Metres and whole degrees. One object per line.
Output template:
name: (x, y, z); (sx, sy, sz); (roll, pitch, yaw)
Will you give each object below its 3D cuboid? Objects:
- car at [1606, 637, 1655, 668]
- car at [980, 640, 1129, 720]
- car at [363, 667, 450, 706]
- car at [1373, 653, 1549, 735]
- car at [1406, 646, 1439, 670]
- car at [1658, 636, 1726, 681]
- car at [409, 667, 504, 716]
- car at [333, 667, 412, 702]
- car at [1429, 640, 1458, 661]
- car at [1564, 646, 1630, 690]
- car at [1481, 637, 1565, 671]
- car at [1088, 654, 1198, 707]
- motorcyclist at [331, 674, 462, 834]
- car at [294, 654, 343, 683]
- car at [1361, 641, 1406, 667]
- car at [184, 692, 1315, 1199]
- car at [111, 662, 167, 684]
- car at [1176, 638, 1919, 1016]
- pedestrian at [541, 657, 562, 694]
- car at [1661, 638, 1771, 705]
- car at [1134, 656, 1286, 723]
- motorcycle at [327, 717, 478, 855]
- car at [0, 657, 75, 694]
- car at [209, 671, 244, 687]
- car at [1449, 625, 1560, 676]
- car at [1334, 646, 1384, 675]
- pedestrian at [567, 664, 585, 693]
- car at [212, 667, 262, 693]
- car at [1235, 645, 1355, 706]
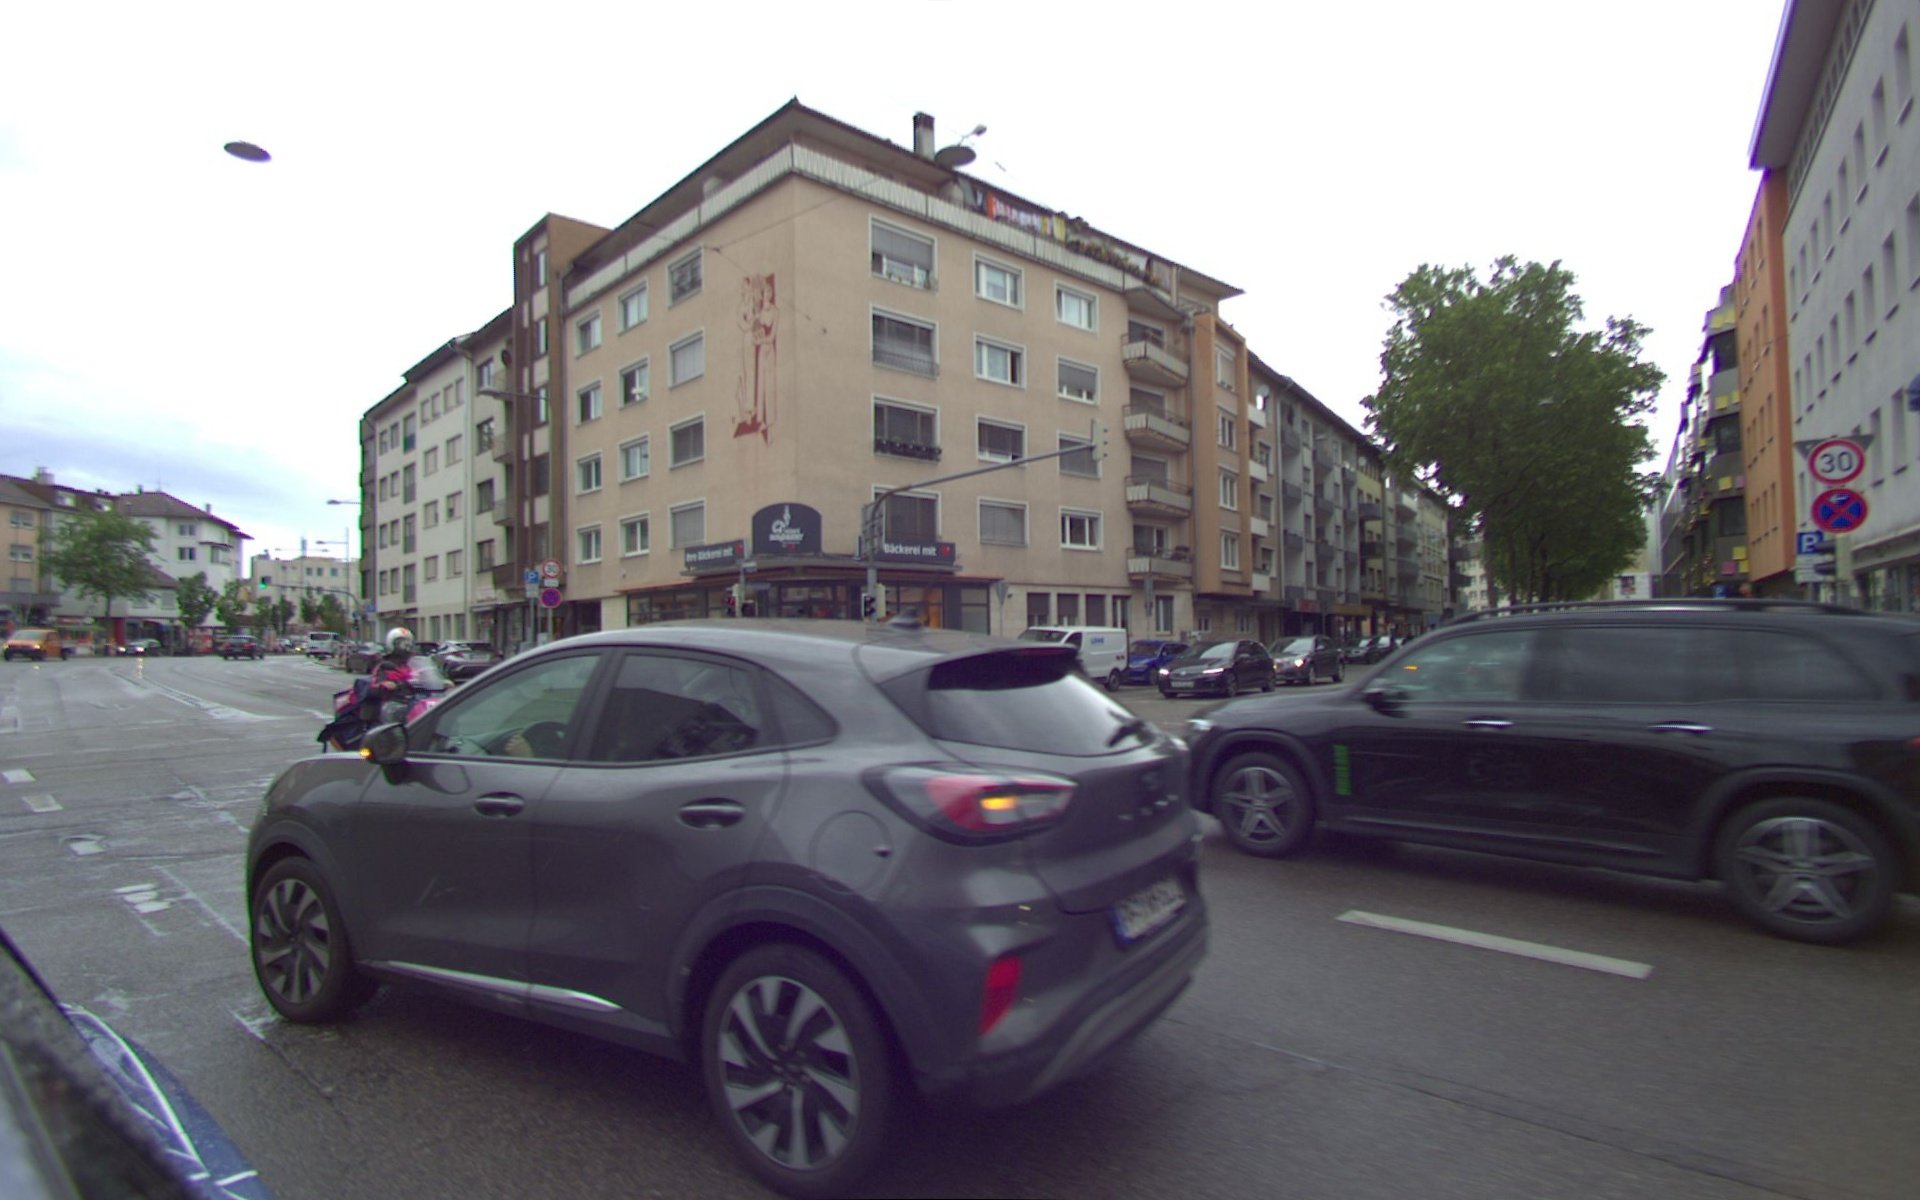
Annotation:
car: (34.546, 2.682, 52.101); (1.849, 1.483, 3.789); (-4, -3, 37)
car: (2.948, 2.328, 30.721); (2.046, 2.119, 4.799); (-1, -2, 42)
car: (-23.132, 3.560, 42.228); (4.520, 1.488, 1.971); (-4, -4, 45)
car: (10.421, 1.848, 20.897); (2.000, 1.398, 4.435); (-3, -3, 43)
car: (35.992, 4.501, 78.777); (1.786, 1.586, 3.957); (-4, -2, 31)
car: (26.599, 2.110, 36.749); (1.849, 1.483, 3.789); (-4, -3, 37)
car: (-17.961, 3.192, 36.000); (1.884, 1.566, 4.637); (2, -4, -41)
car: (-26.831, 3.817, 46.165); (4.981, 1.488, 1.860); (-4, -5, 45)
car: (42.389, 4.376, 88.680); (1.786, 1.586, 3.957); (-4, -2, 31)
car: (24.925, 2.610, 39.548); (1.696, 1.639, 3.948); (-3, -4, 38)
car: (33.184, 3.192, 59.688); (3.992, 1.674, 1.868); (-6, -3, 36)
car: (6.465, 2.744, 35.420); (2.044, 1.567, 4.284); (-1, -1, 38)
motorcyclist: (-5.874, 1.557, 10.561); (0.863, 1.505, 0.906); (-3, -2, 37)
car: (-51.789, 5.502, 81.838); (2.089, 2.029, 5.144); (-3, 0, -18)
car: (26.249, 3.304, 62.600); (1.837, 1.502, 4.213); (-1, -1, 33)
car: (-1.024, 1.200, 3.945); (4.213, 1.565, 1.842); (-3, -3, 32)
car: (-63.329, 5.603, 78.148); (1.813, 1.453, 4.011); (-3, -2, -15)
car: (3.717, 1.083, 6.221); (4.374, 1.652, 1.800); (-3, -3, 44)
pedestrian: (-17.750, 3.269, 43.942); (0.668, 1.595, 0.538); (-3, -2, 34)
car: (20.290, 1.874, 27.324); (2.041, 1.644, 4.290); (-3, -3, 33)
car: (6.345, 2.205, 25.387); (2.044, 1.387, 4.284); (-6, -4, 38)
motorcycle: (-5.828, 1.872, 10.522); (2.099, 1.200, 0.581); (-3, -2, 38)
car: (-57.793, 4.682, 63.069); (2.162, 2.102, 5.952); (-1, -2, -22)
car: (-70.897, 7.639, 97.919); (1.783, 1.352, 4.013); (-3, -2, -22)
car: (28.440, 2.647, 52.914); (4.760, 2.324, 1.868); (-6, -3, 36)
car: (22.584, 3.383, 57.245); (1.837, 1.502, 4.213); (-1, -1, 33)
pedestrian: (-16.200, 3.309, 42.693); (0.663, 1.157, 0.596); (-1, -2, -15)
car: (-50.548, 5.583, 70.828); (1.836, 1.660, 4.267); (1, -3, -22)
car: (10.343, 2.284, 31.028); (2.043, 1.602, 4.597); (-6, -4, 37)
